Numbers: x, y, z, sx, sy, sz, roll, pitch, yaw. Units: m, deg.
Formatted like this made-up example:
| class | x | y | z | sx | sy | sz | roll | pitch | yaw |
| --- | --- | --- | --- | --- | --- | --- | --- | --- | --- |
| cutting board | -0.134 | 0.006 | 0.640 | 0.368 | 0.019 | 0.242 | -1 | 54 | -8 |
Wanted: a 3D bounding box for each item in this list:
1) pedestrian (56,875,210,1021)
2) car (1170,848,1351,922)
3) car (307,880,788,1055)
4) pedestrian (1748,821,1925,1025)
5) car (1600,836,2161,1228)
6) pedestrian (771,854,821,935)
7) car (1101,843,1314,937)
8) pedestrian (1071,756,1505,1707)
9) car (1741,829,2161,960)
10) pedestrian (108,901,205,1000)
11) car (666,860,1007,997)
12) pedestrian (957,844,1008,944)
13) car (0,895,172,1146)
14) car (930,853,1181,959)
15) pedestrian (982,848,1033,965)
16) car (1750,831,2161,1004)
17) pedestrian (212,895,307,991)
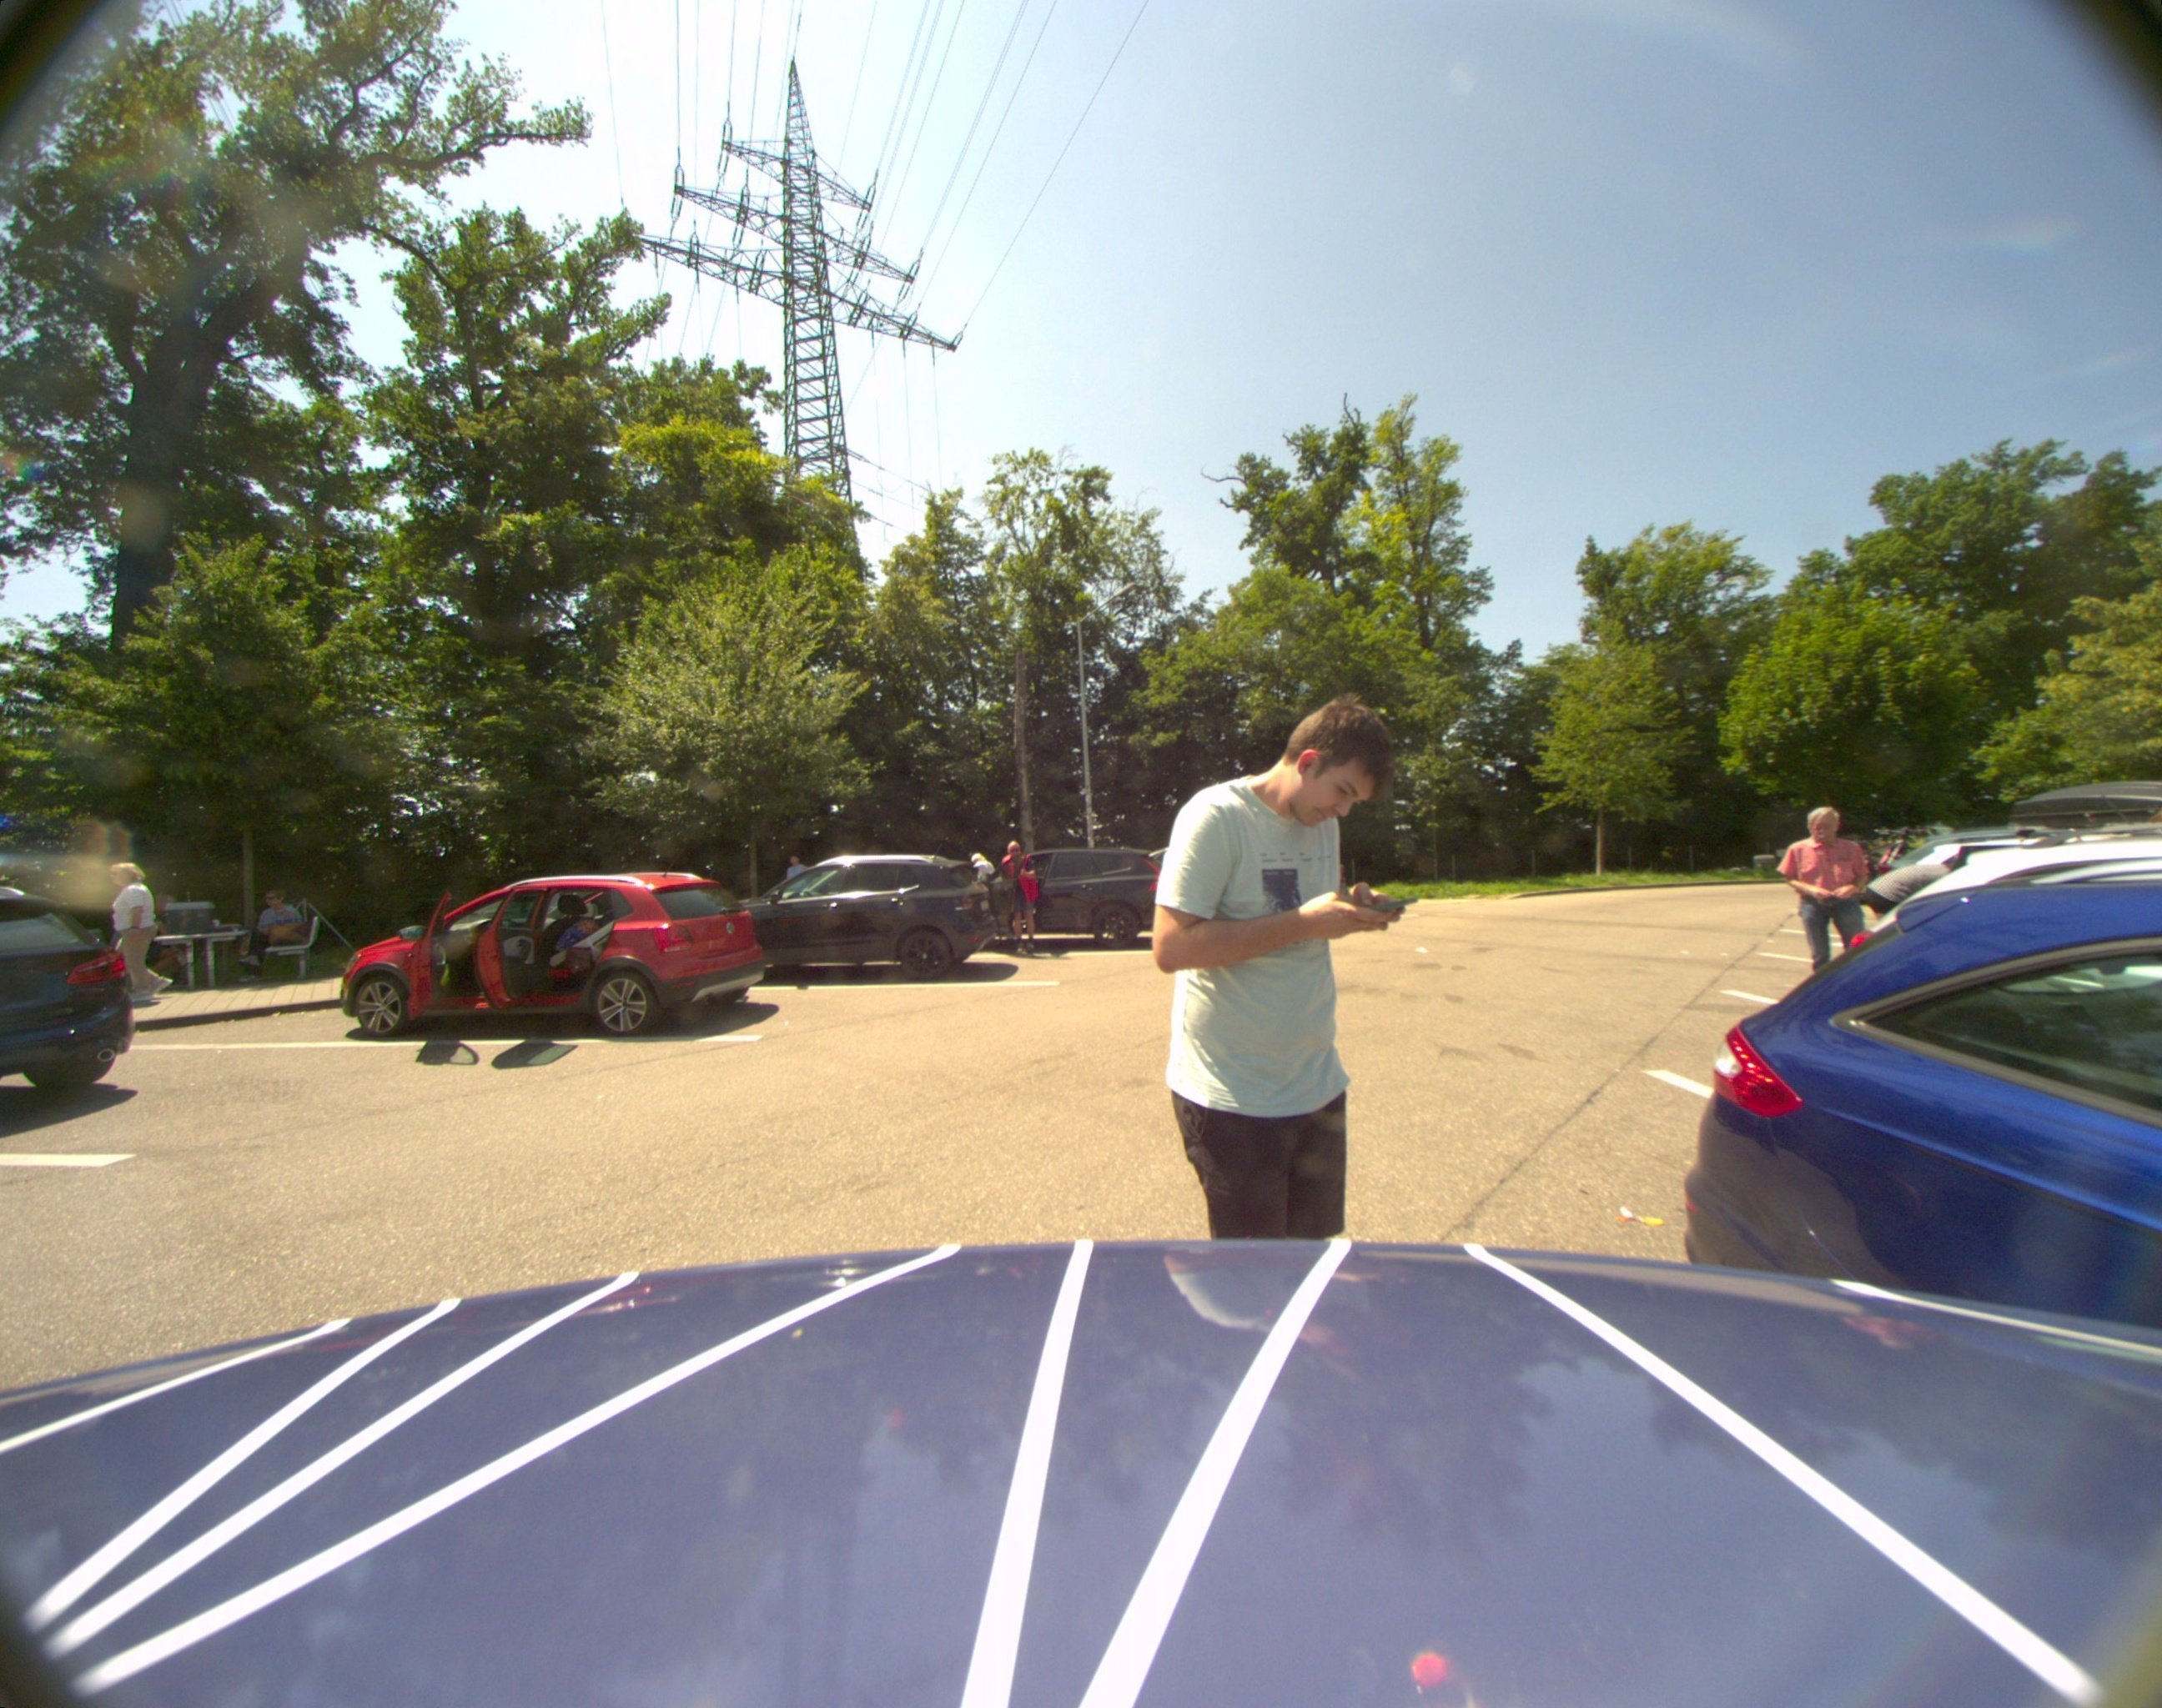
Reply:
| class | x | y | z | sx | sy | sz | roll | pitch | yaw |
| --- | --- | --- | --- | --- | --- | --- | --- | --- | --- |
| pedestrian | -11.003 | 1.060 | 8.843 | 0.774 | 1.584 | 0.810 | -2 | 0 | 10 |
| car | 4.169 | 0.717 | 18.183 | 3.964 | 1.577 | 1.781 | -2 | 0 | 7 |
| car | -5.202 | 1.074 | 7.700 | 3.704 | 1.448 | 1.781 | -2 | 0 | 7 |
| pedestrian | 6.292 | 0.548 | 6.372 | 0.672 | 1.592 | 0.759 | -2 | 0 | 1 |
| car | 4.927 | 0.658 | 3.626 | 1.779 | 1.456 | 4.470 | -2 | -1 | 0 |
| pedestrian | -5.793 | 0.808 | 15.488 | 0.715 | 1.584 | 0.809 | -2 | 0 | -7 |
| car | 2.500 | 0.700 | 15.431 | 3.964 | 1.678 | 1.781 | -2 | 0 | 7 |
| pedestrian | 0.360 | 0.696 | 1.598 | 0.687 | 1.699 | 0.578 | -2 | 0 | 1 |
| car | 12.356 | 0.480 | 10.923 | 1.779 | 1.456 | 4.470 | -2 | -1 | 0 |
| pedestrian | -12.663 | 1.303 | 10.418 | 0.652 | 1.262 | 0.672 | -2 | 0 | 24 |
| car | -3.155 | 0.941 | 10.360 | 3.966 | 1.582 | 1.841 | -2 | 0 | 3 |
| pedestrian | -1.907 | 0.750 | 14.643 | 0.682 | 1.854 | 0.713 | -2 | 0 | -30 |
| car | -8.927 | 1.158 | 4.982 | 4.011 | 1.558 | 1.846 | -2 | 0 | 6 |
| car | -0.336 | 0.843 | 12.938 | 3.964 | 1.582 | 1.781 | -2 | 0 | 8 |
| pedestrian | -1.138 | 0.802 | 11.854 | 0.660 | 1.745 | 0.636 | -2 | 0 | 1 |
| car | 10.055 | 0.536 | 8.139 | 1.779 | 1.456 | 4.470 | -2 | -1 | 0 |
| pedestrian | -11.862 | 1.266 | 10.983 | 0.828 | 1.287 | 0.672 | -2 | 0 | 24 |
